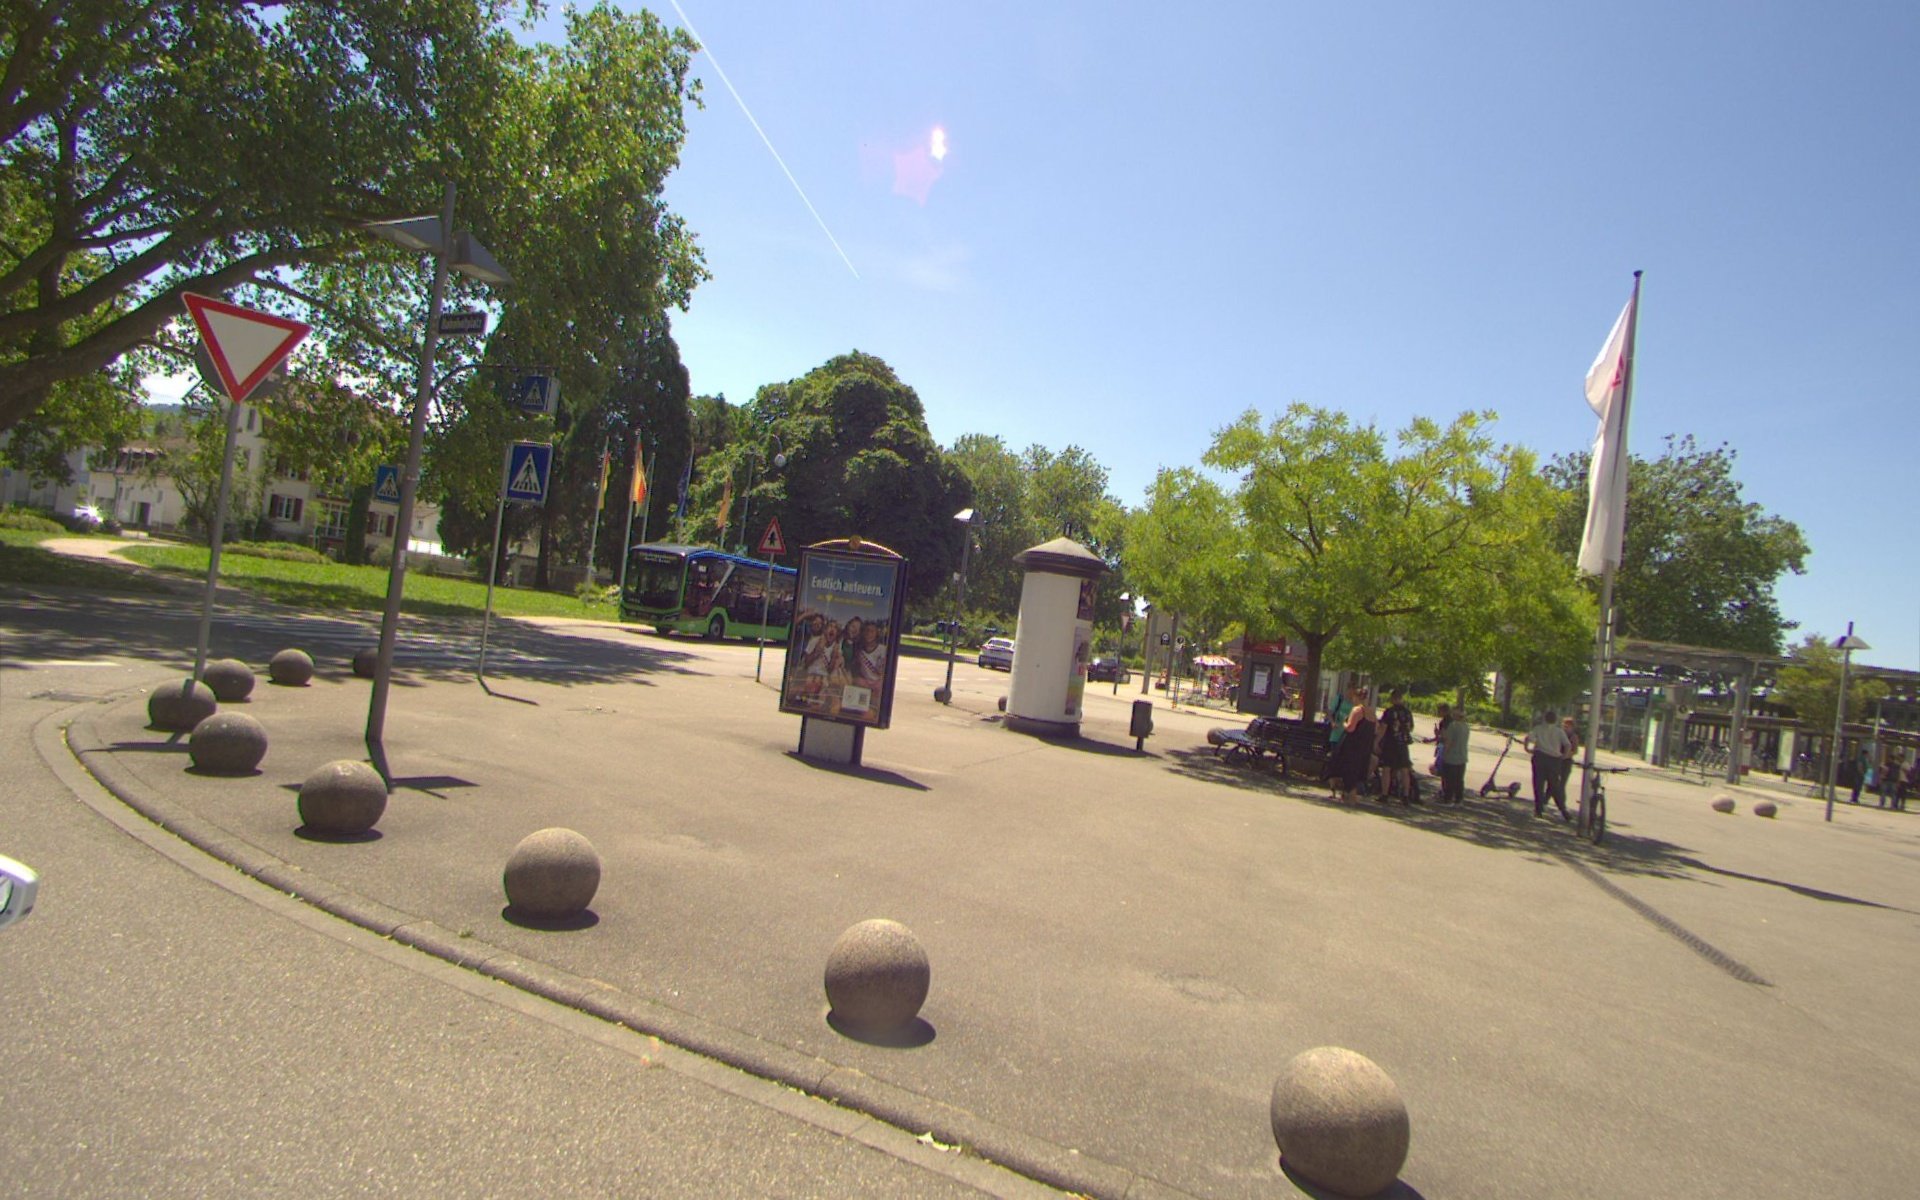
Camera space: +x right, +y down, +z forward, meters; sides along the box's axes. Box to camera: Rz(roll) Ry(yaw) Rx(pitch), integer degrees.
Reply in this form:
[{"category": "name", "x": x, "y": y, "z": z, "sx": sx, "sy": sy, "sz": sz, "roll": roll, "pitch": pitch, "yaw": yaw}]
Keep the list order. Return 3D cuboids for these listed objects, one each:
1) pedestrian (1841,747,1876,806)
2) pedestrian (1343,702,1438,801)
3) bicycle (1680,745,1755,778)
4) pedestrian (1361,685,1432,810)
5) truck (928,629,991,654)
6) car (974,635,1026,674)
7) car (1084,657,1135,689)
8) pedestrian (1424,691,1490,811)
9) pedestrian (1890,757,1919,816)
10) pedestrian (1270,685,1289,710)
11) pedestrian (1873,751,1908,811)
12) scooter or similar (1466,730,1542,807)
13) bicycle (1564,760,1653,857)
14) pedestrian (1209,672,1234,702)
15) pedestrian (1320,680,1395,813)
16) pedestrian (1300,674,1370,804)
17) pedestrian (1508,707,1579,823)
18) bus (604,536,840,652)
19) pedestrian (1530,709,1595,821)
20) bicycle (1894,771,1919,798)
[{"category": "pedestrian", "x": 29.815, "y": 5.854, "z": 33.390, "sx": 0.680, "sy": 1.830, "sz": 0.629, "roll": 7, "pitch": -1, "yaw": 41}, {"category": "pedestrian", "x": 7.006, "y": 2.452, "z": 16.422, "sx": 0.898, "sy": 1.402, "sz": 0.942, "roll": 8, "pitch": -1, "yaw": -10}, {"category": "bicycle", "x": 37.670, "y": 8.045, "z": 50.080, "sx": 2.743, "sy": 1.015, "sz": 0.812, "roll": 10, "pitch": -1, "yaw": 17}, {"category": "pedestrian", "x": 6.609, "y": 2.214, "z": 15.260, "sx": 0.575, "sy": 1.760, "sz": 0.599, "roll": 8, "pitch": -1, "yaw": -6}, {"category": "truck", "x": -0.169, "y": 5.995, "z": 147.394, "sx": 2.269, "sy": 2.376, "sz": 11.242, "roll": 9, "pitch": -2, "yaw": -40}, {"category": "car", "x": 2.149, "y": 2.849, "z": 52.586, "sx": 1.951, "sy": 1.645, "sz": 4.784, "roll": 7, "pitch": -2, "yaw": 10}, {"category": "car", "x": 8.090, "y": 3.966, "z": 54.127, "sx": 1.897, "sy": 1.477, "sz": 4.730, "roll": 5, "pitch": -3, "yaw": 18}, {"category": "pedestrian", "x": 7.864, "y": 2.376, "z": 15.920, "sx": 0.503, "sy": 1.760, "sz": 0.570, "roll": 8, "pitch": -1, "yaw": -10}, {"category": "pedestrian", "x": 30.867, "y": 6.076, "z": 32.832, "sx": 0.543, "sy": 1.830, "sz": 0.496, "roll": 7, "pitch": -1, "yaw": 40}, {"category": "pedestrian", "x": 16.123, "y": 4.935, "z": 50.805, "sx": 0.676, "sy": 1.174, "sz": 0.895, "roll": 8, "pitch": -1, "yaw": 24}, {"category": "pedestrian", "x": 30.175, "y": 5.868, "z": 32.638, "sx": 0.622, "sy": 1.830, "sz": 0.594, "roll": 7, "pitch": -1, "yaw": 40}, {"category": "scooter or similar", "x": 9.506, "y": 2.942, "z": 17.588, "sx": 1.008, "sy": 1.152, "sz": 0.295, "roll": 8, "pitch": -1, "yaw": 12}, {"category": "bicycle", "x": 9.130, "y": 2.900, "z": 14.226, "sx": 0.413, "sy": 1.072, "sz": 1.951, "roll": 7, "pitch": -2, "yaw": 17}, {"category": "pedestrian", "x": 14.083, "y": 4.677, "z": 54.129, "sx": 0.882, "sy": 1.434, "sz": 0.686, "roll": 8, "pitch": -1, "yaw": -18}, {"category": "pedestrian", "x": 5.651, "y": 2.069, "z": 14.327, "sx": 0.617, "sy": 1.760, "sz": 0.547, "roll": 8, "pitch": -1, "yaw": -6}, {"category": "pedestrian", "x": 5.567, "y": 2.045, "z": 14.969, "sx": 0.680, "sy": 1.784, "sz": 0.586, "roll": 8, "pitch": -1, "yaw": 11}, {"category": "pedestrian", "x": 9.270, "y": 2.604, "z": 16.008, "sx": 0.607, "sy": 1.705, "sz": 0.591, "roll": 8, "pitch": -1, "yaw": 7}, {"category": "bus", "x": -8.932, "y": 0.066, "z": 40.506, "sx": 2.765, "sy": 3.320, "sz": 12.436, "roll": 8, "pitch": -2, "yaw": 19}, {"category": "pedestrian", "x": 9.893, "y": 2.699, "z": 16.545, "sx": 0.544, "sy": 1.705, "sz": 0.588, "roll": 8, "pitch": -1, "yaw": 7}, {"category": "bicycle", "x": 43.913, "y": 8.511, "z": 45.104, "sx": 2.743, "sy": 1.015, "sz": 0.968, "roll": 10, "pitch": -1, "yaw": 17}]
